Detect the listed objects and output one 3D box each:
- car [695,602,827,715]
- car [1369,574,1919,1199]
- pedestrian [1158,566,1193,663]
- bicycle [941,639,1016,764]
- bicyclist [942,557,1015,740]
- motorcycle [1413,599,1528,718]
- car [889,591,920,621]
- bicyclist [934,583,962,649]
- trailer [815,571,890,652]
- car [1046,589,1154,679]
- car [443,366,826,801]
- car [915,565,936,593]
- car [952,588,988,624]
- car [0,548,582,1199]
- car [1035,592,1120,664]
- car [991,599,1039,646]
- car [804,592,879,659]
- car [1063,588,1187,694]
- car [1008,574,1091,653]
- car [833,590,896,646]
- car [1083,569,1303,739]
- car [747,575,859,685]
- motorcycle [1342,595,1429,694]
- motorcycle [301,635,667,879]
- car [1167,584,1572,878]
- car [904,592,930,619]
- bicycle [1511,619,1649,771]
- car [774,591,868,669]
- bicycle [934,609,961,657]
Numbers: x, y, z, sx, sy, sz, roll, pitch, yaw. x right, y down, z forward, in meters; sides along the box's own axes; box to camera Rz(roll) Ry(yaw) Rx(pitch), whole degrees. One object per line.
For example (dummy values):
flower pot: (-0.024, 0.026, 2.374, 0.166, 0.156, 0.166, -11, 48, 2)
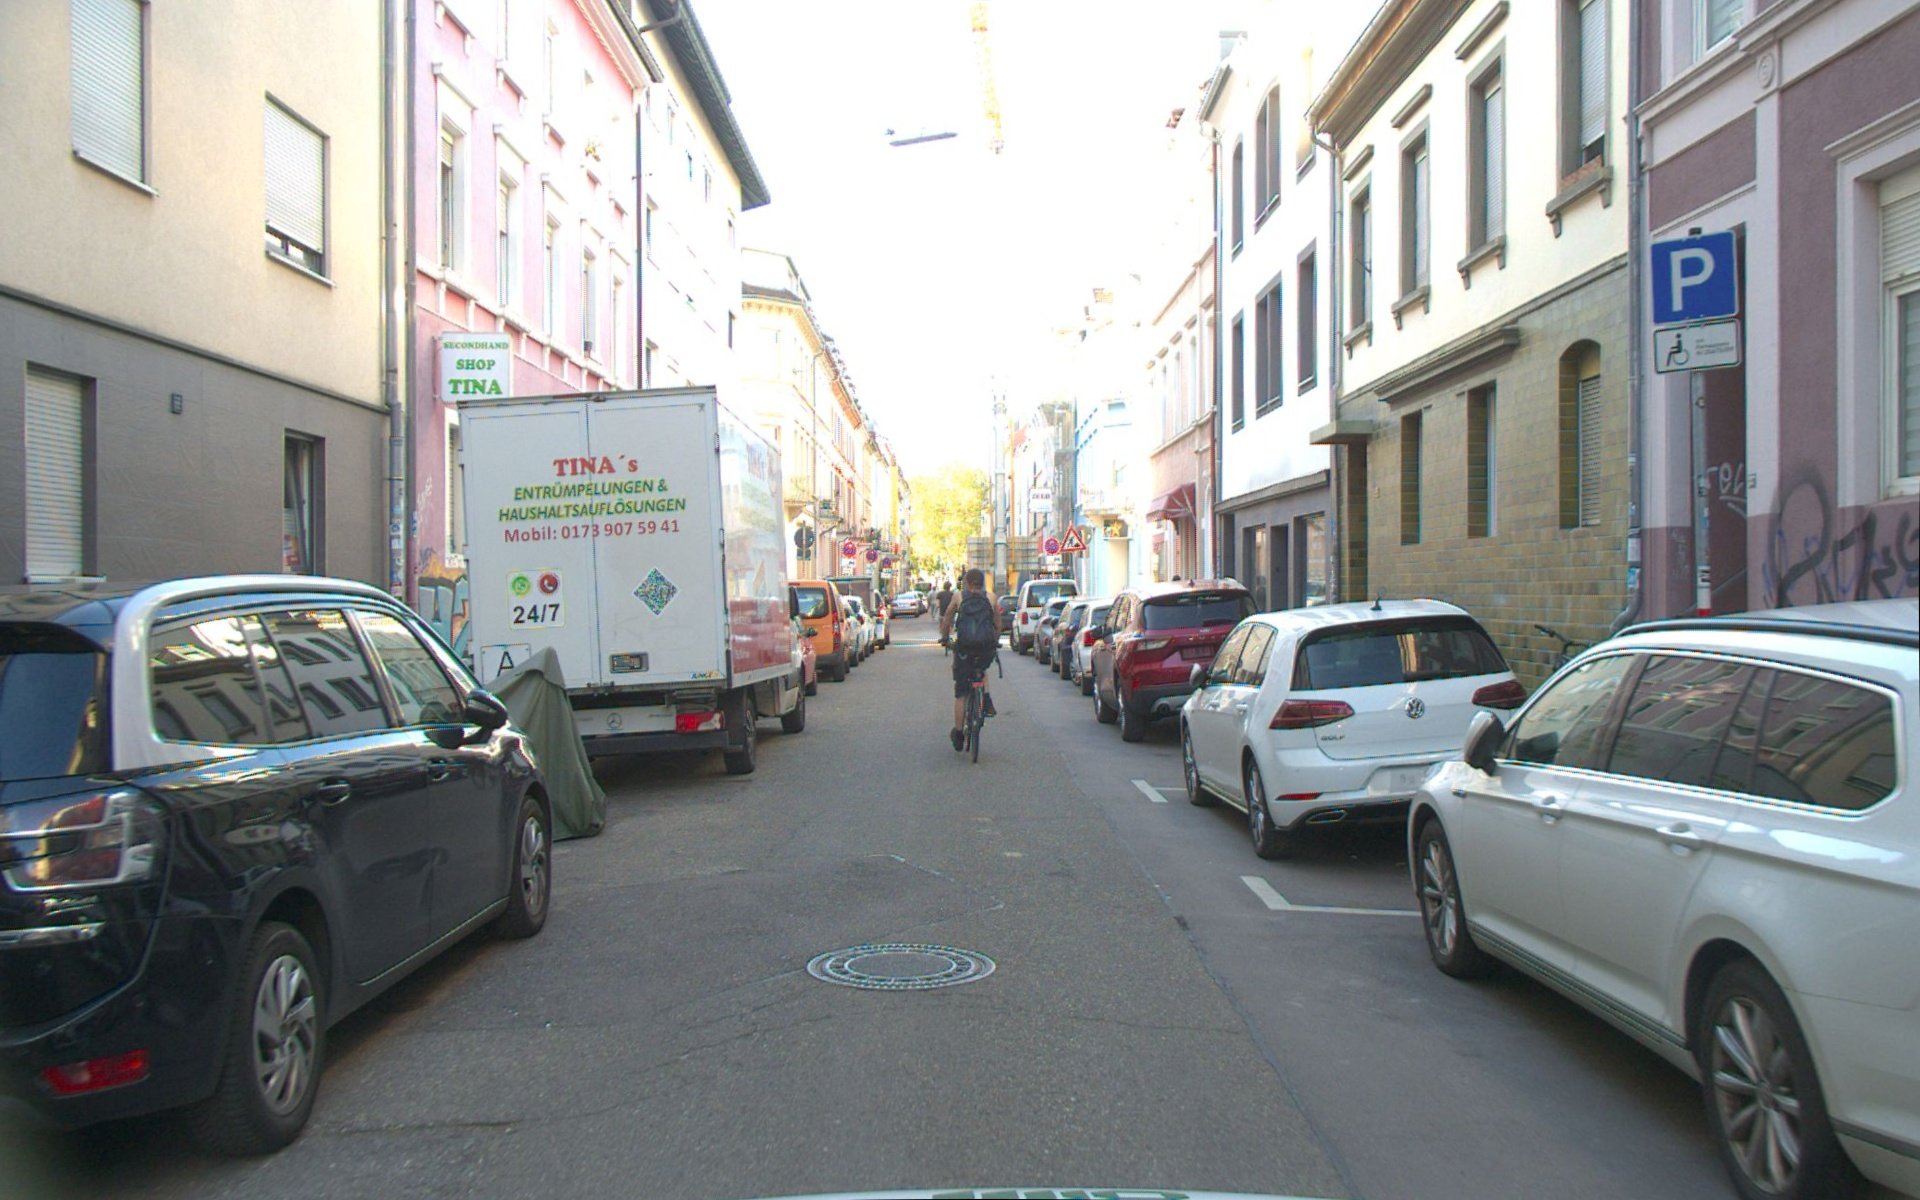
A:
car: (-2.973, 0.842, 25.264, 1.546, 1.509, 3.564, -3, 0, -1)
car: (2.774, 0.718, 5.306, 1.662, 1.570, 4.628, -2, 0, -1)
pedestrian: (4.620, 0.314, 35.436, 0.631, 2.049, 0.763, 1, -1, -1)
bicycle: (0.160, 0.946, 16.010, 0.663, 1.093, 1.941, 1, 0, -1)
bicyclist: (0.166, 0.458, 16.006, 0.654, 1.706, 1.097, 1, -1, -1)
motorcycle: (5.155, 0.568, 16.807, 0.547, 1.114, 1.776, -3, 0, -1)
car: (-3.318, 0.383, 99.493, 1.714, 1.713, 3.795, -1, 0, -1)
bicyclist: (-0.302, 0.390, 40.676, 0.657, 1.595, 0.716, 1, -1, -2)
trailer: (-2.956, 0.321, 46.141, 1.843, 2.129, 3.736, -1, 0, -1)
car: (2.634, 0.623, 31.888, 1.613, 1.500, 3.970, -4, 0, -1)
car: (-2.867, -0.116, 16.656, 2.296, 3.349, 7.154, -2, 0, 0)
car: (-3.023, -1.808, 146.128, 1.714, 2.358, 3.795, -1, 0, -1)
car: (0.452, 0.279, 76.396, 1.578, 1.587, 3.609, 1, 0, -1)
car: (-2.680, 0.730, 5.870, 1.682, 1.679, 4.245, -3, 1, -1)
car: (2.644, 0.622, 37.926, 1.714, 1.513, 3.800, -1, 0, 1)
car: (1.975, 0.815, 60.368, 1.578, 1.662, 3.609, 1, 0, -1)
car: (-2.942, 0.615, 41.498, 1.620, 1.564, 3.634, -1, 0, -1)
car: (2.662, 0.636, 27.385, 1.633, 1.531, 3.816, -3, 0, 1)
car: (2.283, 0.335, 42.987, 1.715, 1.911, 3.970, -1, 0, -3)
car: (-2.884, 0.533, 50.455, 1.714, 1.600, 3.795, -1, 0, -1)
car: (2.565, 0.543, 19.243, 1.879, 1.736, 4.365, 0, 0, -1)
car: (-2.875, 0.542, 30.963, 1.717, 1.848, 4.077, -2, 0, -1)
motorcycle: (5.093, 0.515, 19.890, 0.491, 1.114, 1.878, -3, 0, -1)
motorcycle: (-2.930, 0.914, 10.390, 0.777, 1.275, 2.096, -2, 0, 41)
car: (2.546, 0.741, 11.282, 1.652, 1.570, 4.045, -2, 0, -1)
car: (-3.009, 0.377, 117.083, 1.714, 1.853, 3.795, -1, 0, -1)
bicycle: (5.208, 0.767, 13.990, 0.510, 1.194, 1.685, 1, 0, -1)
car: (-2.987, 0.636, 36.356, 1.714, 1.564, 4.318, -1, 0, -1)
bicycle: (-0.310, 0.797, 40.770, 0.635, 1.149, 2.135, 1, 0, -1)
